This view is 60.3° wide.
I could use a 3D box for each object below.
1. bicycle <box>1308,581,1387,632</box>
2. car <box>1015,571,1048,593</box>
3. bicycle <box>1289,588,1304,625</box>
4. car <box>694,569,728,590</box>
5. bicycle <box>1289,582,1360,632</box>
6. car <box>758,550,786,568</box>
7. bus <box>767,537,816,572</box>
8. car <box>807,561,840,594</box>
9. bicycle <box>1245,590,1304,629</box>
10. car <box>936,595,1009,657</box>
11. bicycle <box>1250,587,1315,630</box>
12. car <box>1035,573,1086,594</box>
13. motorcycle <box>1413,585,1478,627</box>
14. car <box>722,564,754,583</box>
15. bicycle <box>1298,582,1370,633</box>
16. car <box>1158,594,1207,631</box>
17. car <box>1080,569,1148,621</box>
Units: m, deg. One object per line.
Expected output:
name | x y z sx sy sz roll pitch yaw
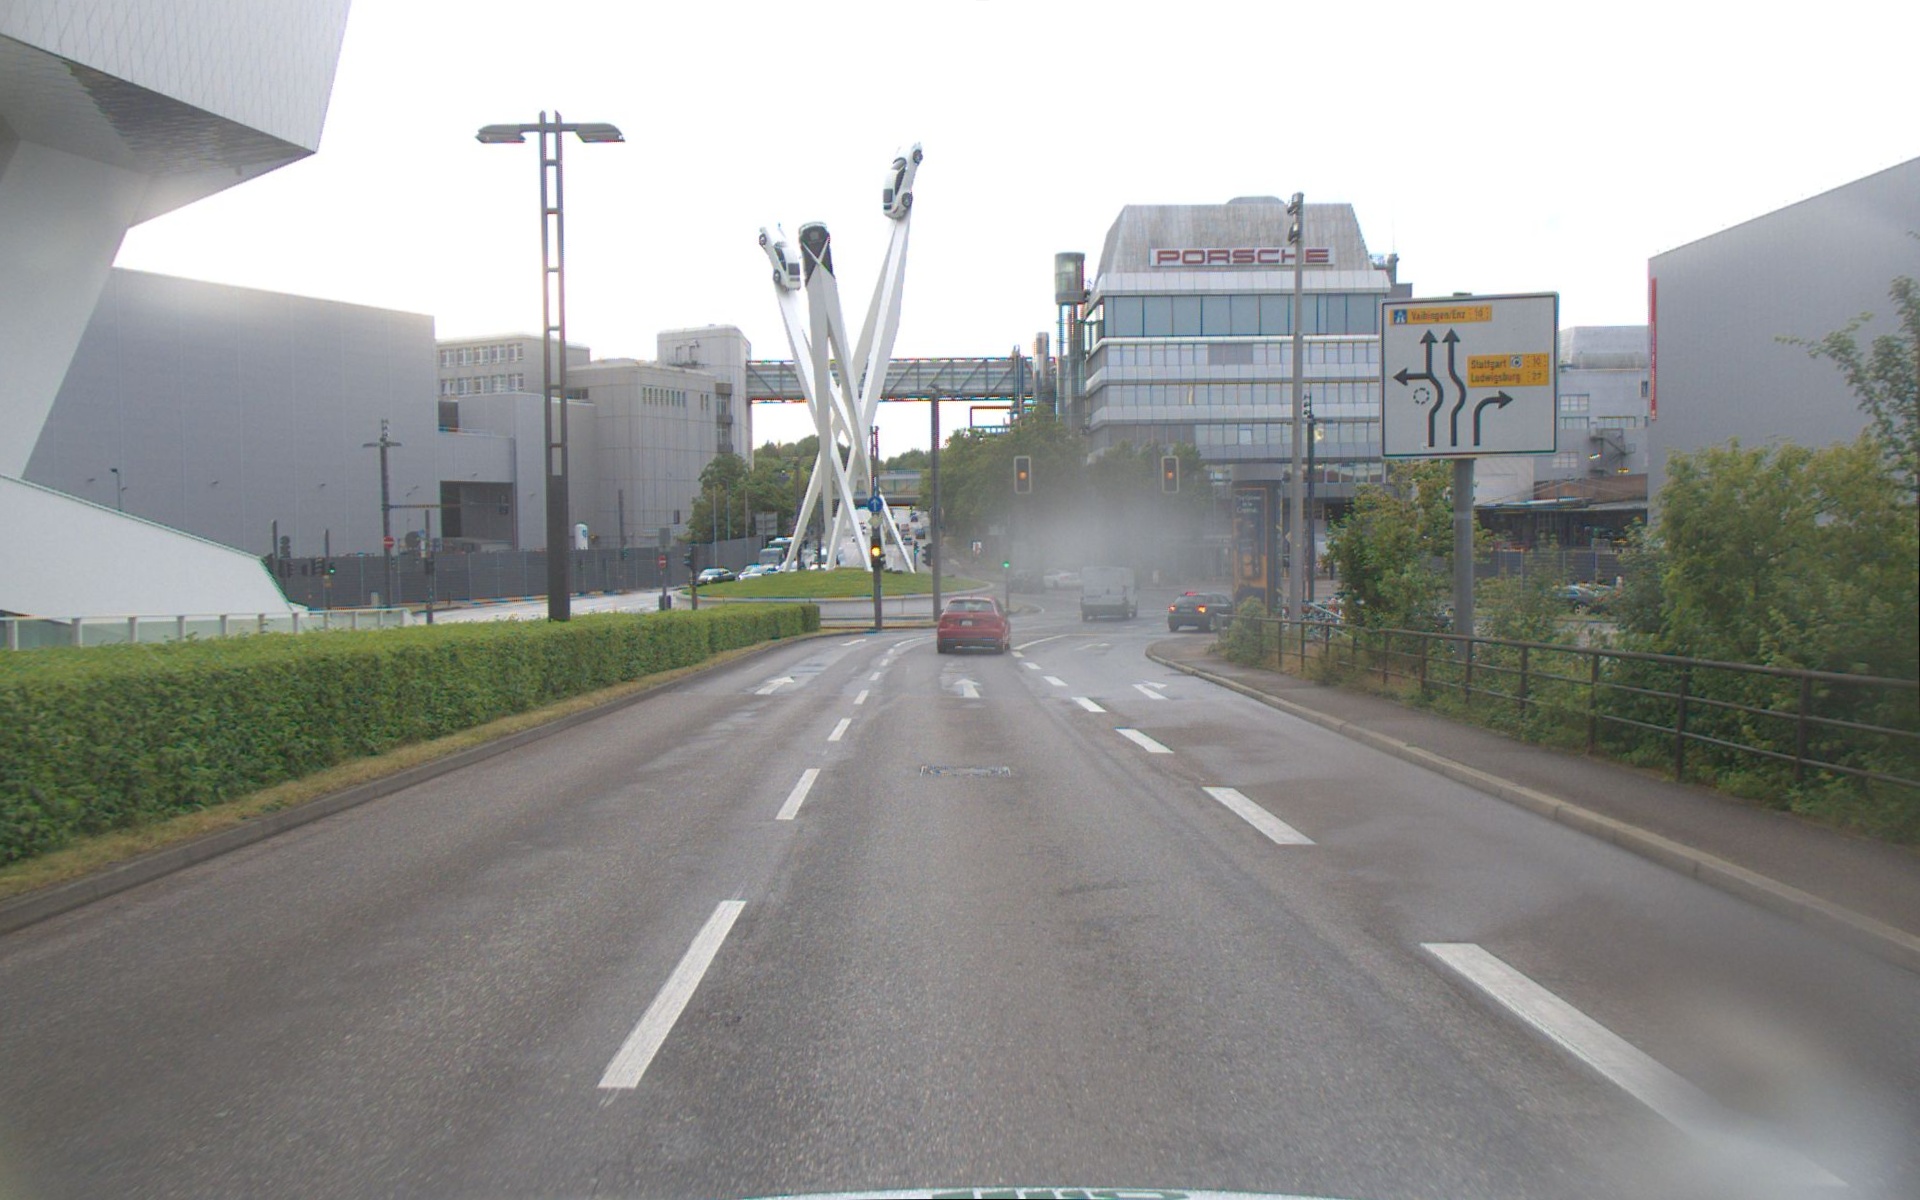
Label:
bicycle | 9.796 0.162 41.820 1.895 1.198 0.596 -2 0 -17
car | 4.612 -1.152 106.809 1.528 1.310 3.407 -1 0 -8
bicycle | 10.808 0.204 53.046 0.377 1.182 2.002 -1 0 13
car | -18.667 -1.535 124.037 1.795 1.497 4.514 -1 1 1
bicycle | 9.578 0.171 43.468 1.906 1.245 0.593 -2 0 -30
car | -16.366 -3.594 144.010 1.795 1.497 4.514 -1 1 1
bus | -16.222 -4.363 159.954 2.613 3.256 12.676 -1 1 4
car | -10.442 -1.746 127.241 1.952 2.489 5.427 -1 1 1
bicycle | 9.859 0.297 51.864 1.732 1.160 0.679 -1 0 6
car | 0.366 0.638 42.912 1.735 1.490 3.734 -1 0 2
bicycle | 9.556 0.251 49.038 1.762 1.182 0.592 -2 0 2
car | 6.653 -1.101 109.899 1.649 1.323 3.849 -1 0 -28
motorcycle | 17.488 0.217 59.631 2.183 1.477 0.756 0 1 22
car | -17.663 -2.103 131.822 1.795 1.497 4.514 -1 1 1
bicycle | 9.669 0.193 42.734 1.907 1.245 0.593 -2 0 -31
car | 8.249 0.457 61.511 1.576 1.313 3.568 -1 0 4
car | 6.738 -0.194 72.013 2.185 2.144 4.958 -1 0 14
